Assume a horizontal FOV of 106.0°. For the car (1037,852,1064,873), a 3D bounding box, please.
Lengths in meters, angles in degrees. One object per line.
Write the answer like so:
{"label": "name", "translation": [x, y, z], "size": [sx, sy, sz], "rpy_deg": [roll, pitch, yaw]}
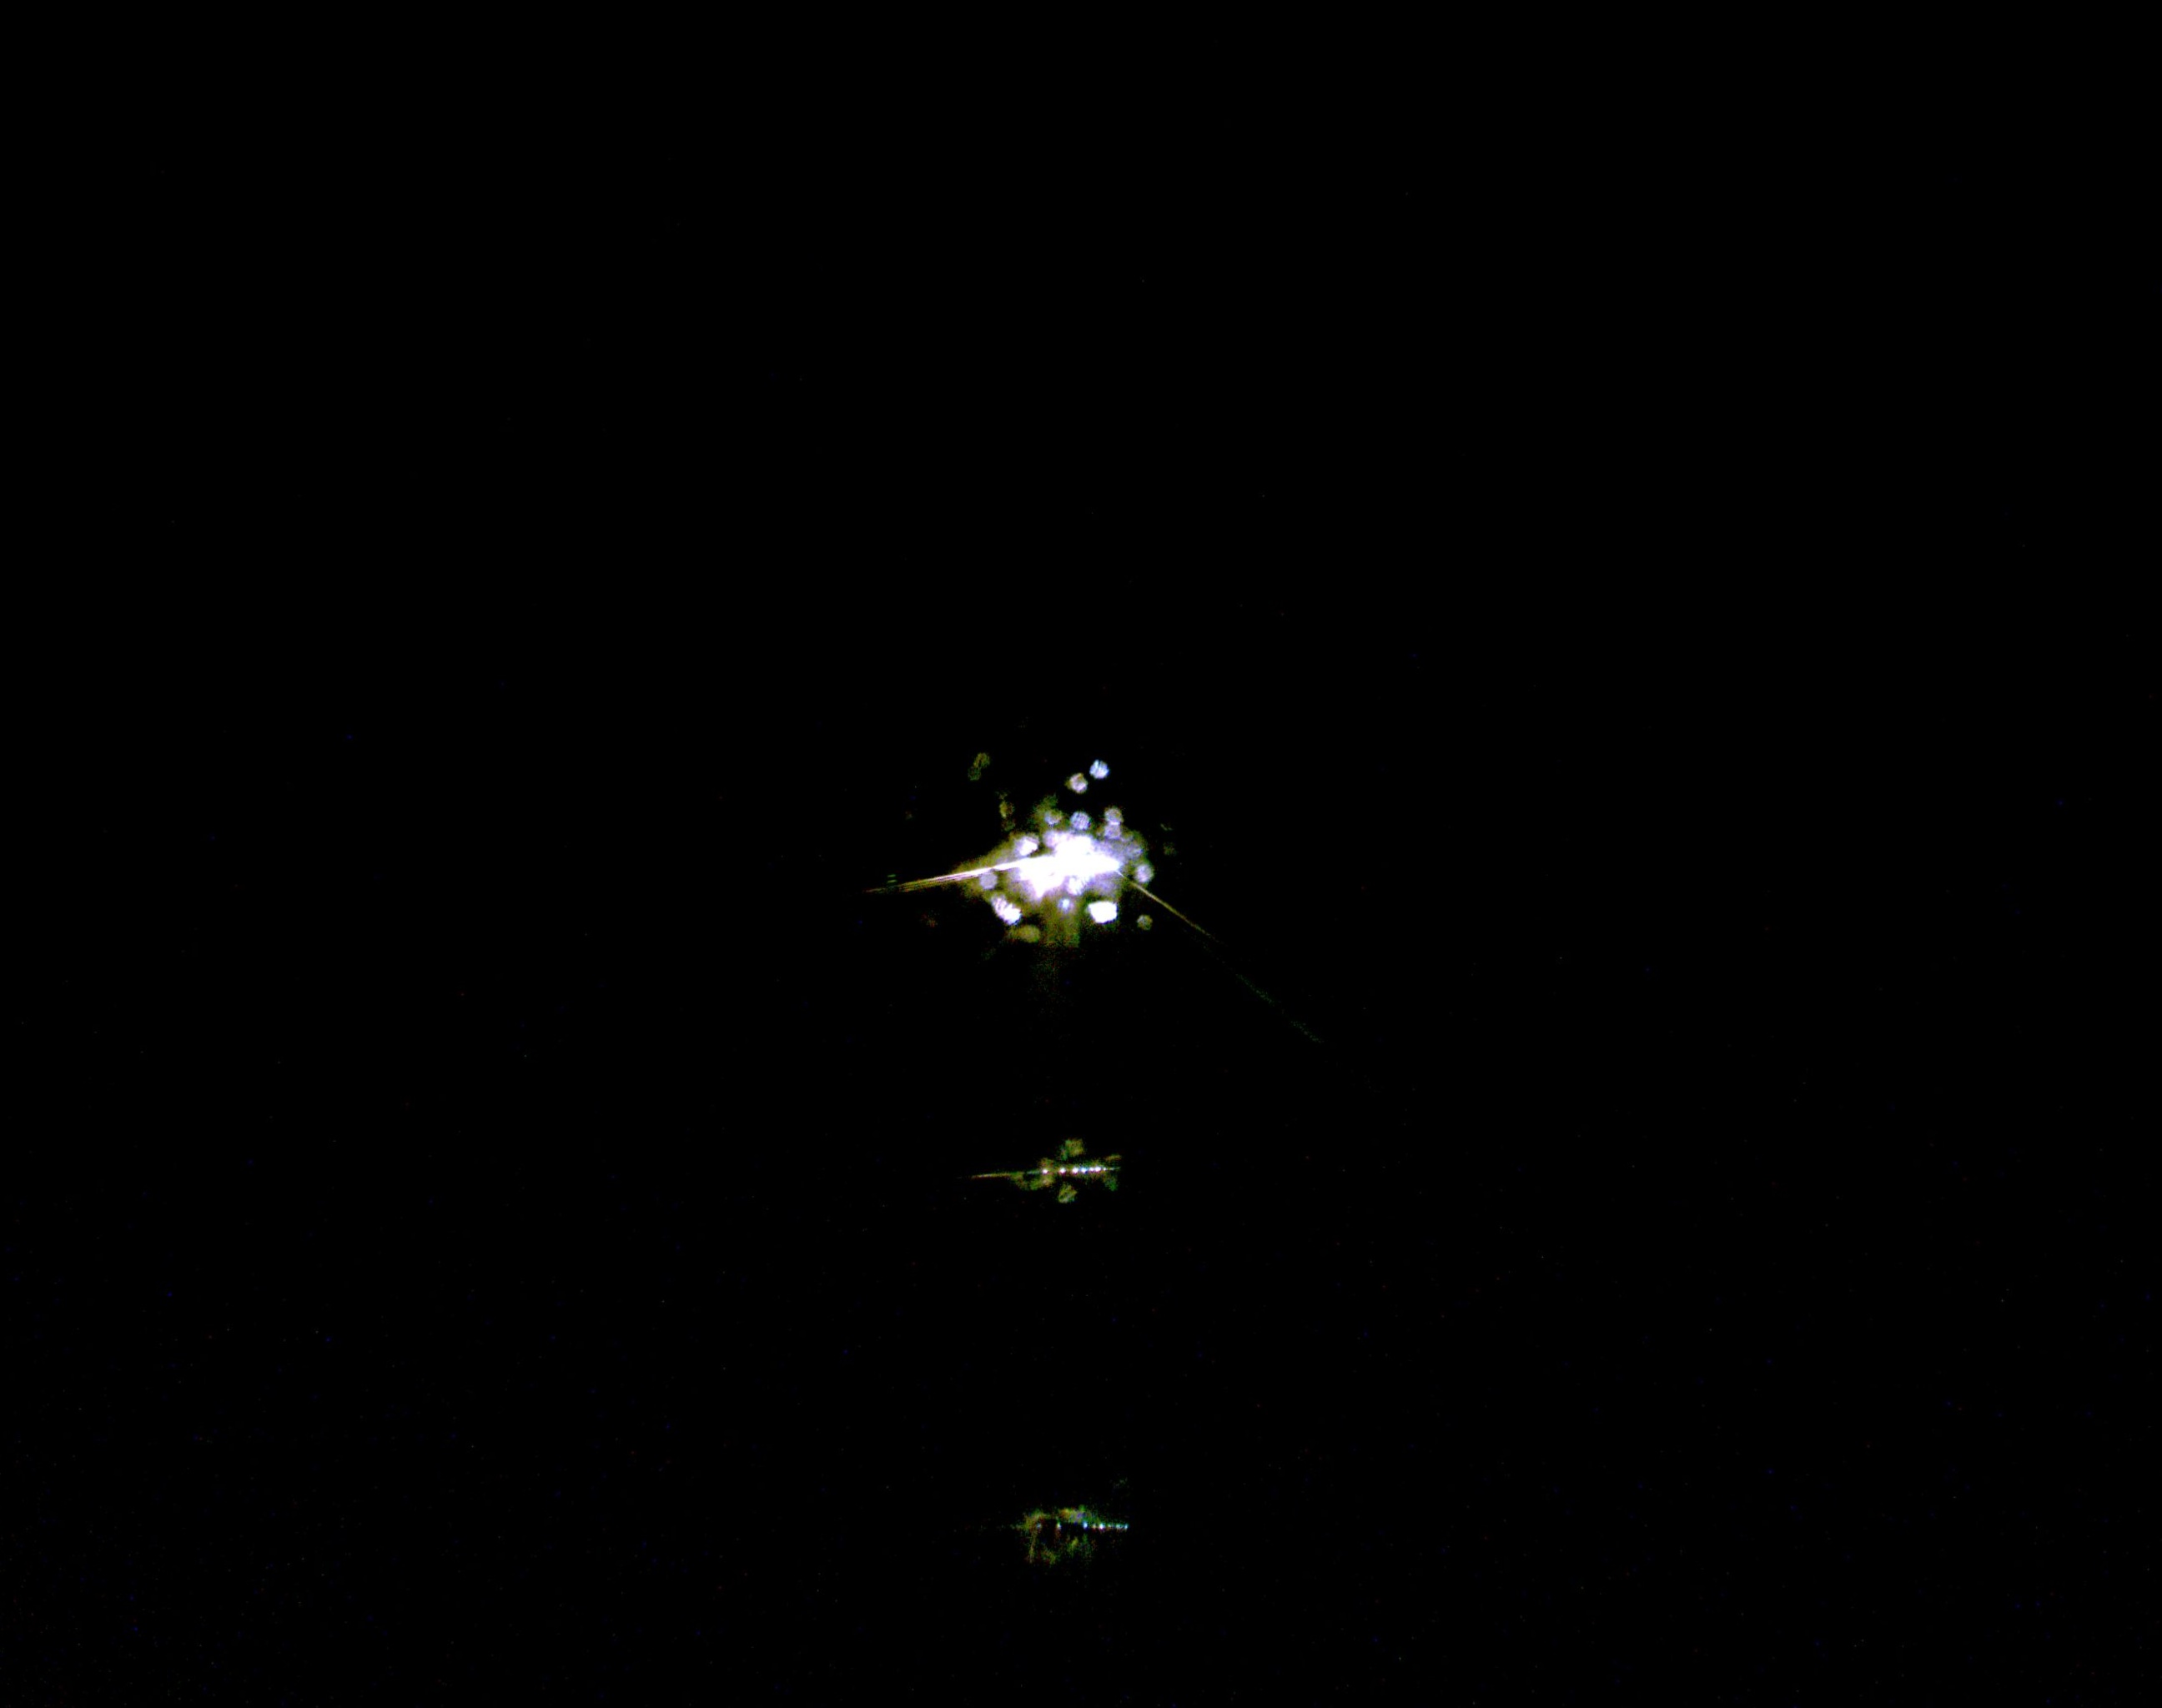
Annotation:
{"label": "car", "translation": [-2.300, 0.625, 62.608], "size": [1.802, 1.600, 4.632], "rpy_deg": [0, 0, 1]}

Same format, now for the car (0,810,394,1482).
{"label": "car", "translation": [-3.483, 0.721, 1.050], "size": [1.716, 1.613, 4.002], "rpy_deg": [-1, 0, 1]}

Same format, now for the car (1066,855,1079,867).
{"label": "car", "translation": [-1.101, 0.913, 108.645], "size": [1.640, 1.425, 4.122], "rpy_deg": [2, 0, -1]}

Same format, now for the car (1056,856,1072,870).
{"label": "car", "translation": [-1.831, 1.023, 89.885], "size": [1.639, 1.425, 3.659], "rpy_deg": [2, 0, 0]}
